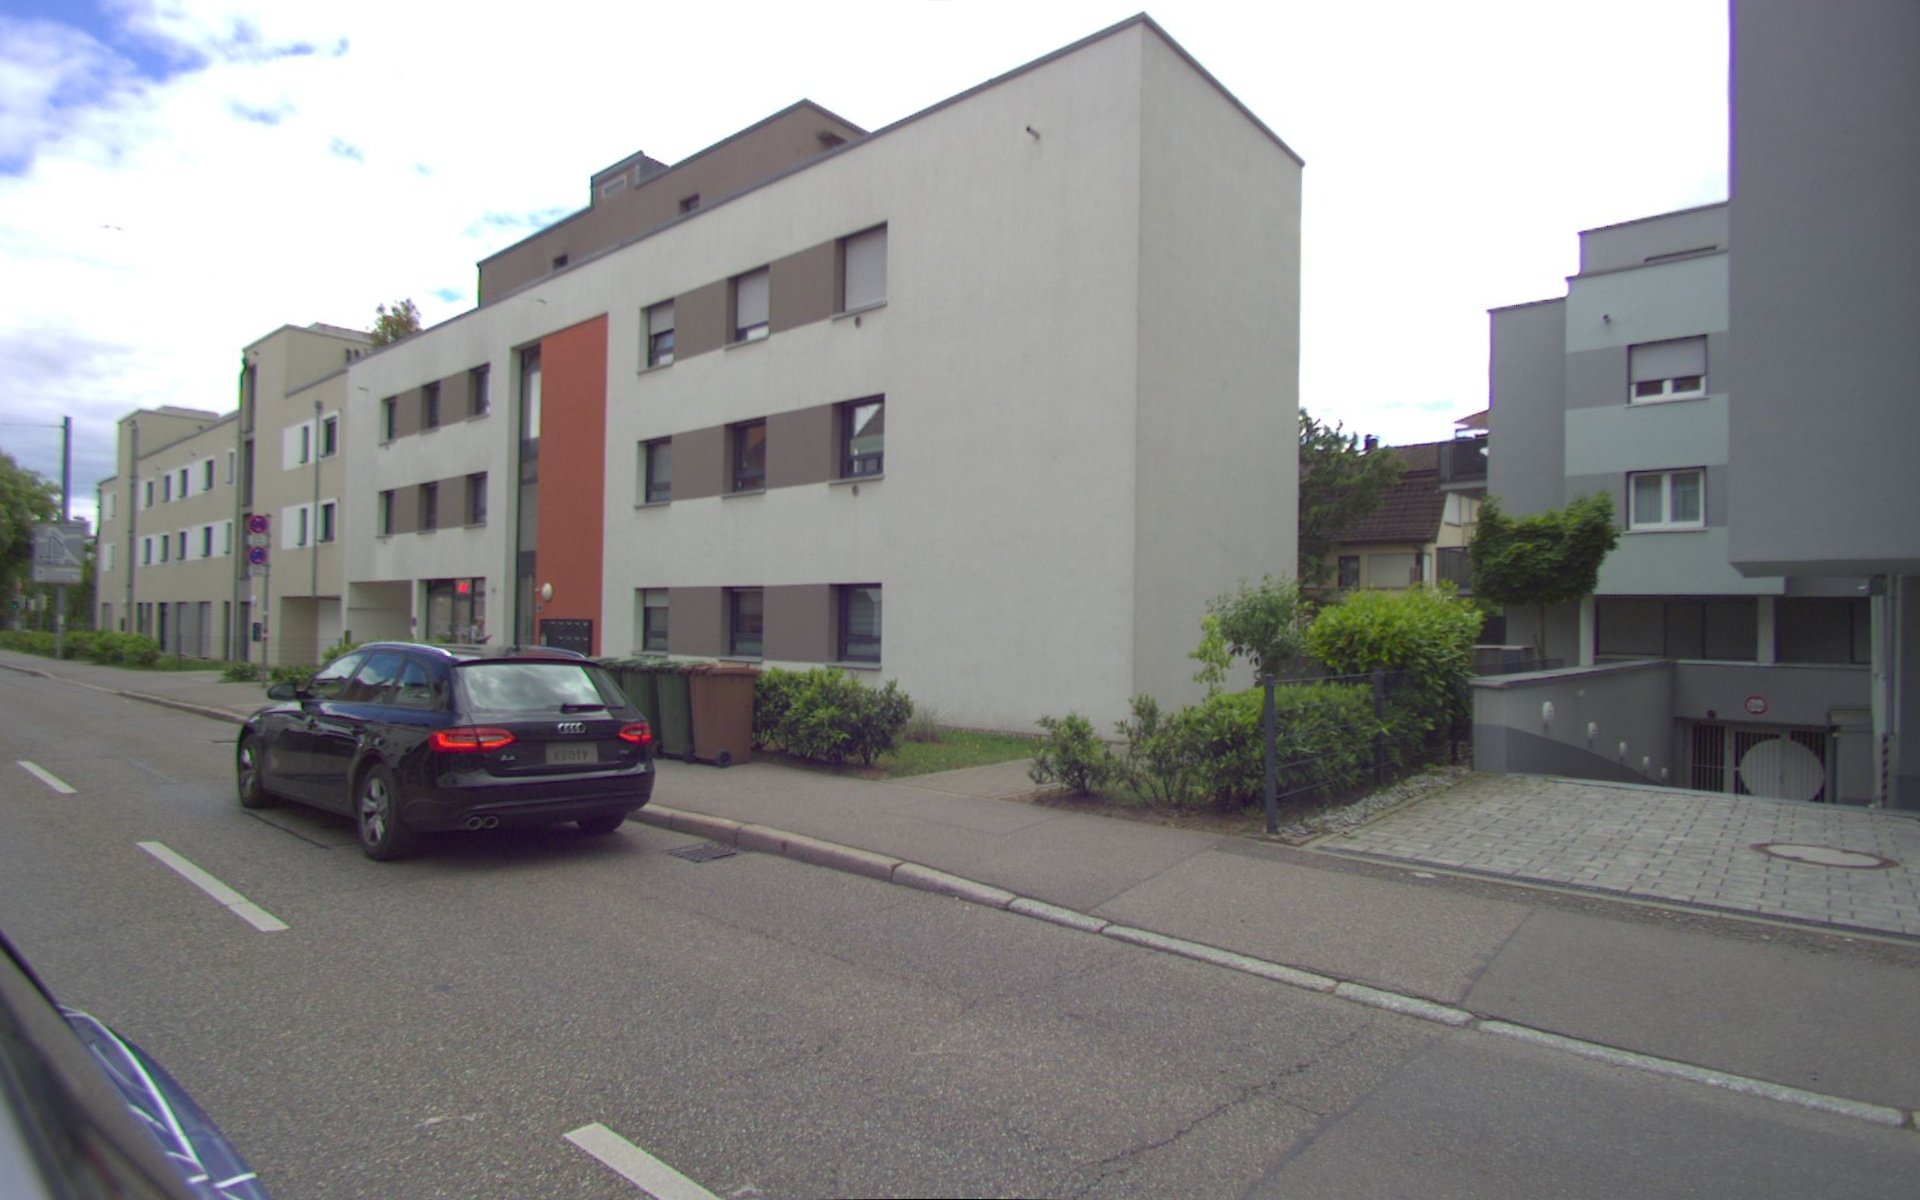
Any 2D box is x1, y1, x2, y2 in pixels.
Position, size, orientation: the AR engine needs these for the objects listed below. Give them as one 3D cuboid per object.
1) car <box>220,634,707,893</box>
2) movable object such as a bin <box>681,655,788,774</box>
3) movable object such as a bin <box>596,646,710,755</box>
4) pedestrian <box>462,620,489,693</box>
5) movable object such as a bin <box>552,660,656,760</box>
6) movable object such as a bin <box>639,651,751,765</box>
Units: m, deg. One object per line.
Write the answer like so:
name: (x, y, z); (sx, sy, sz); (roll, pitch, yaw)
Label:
car: (-4.036, 1.045, 7.924); (4.211, 1.462, 1.859); (-1, -5, 41)
movable object such as a bin: (-2.366, 1.176, 10.690); (0.612, 1.160, 0.932); (-1, -2, 36)
movable object such as a bin: (-3.541, 1.124, 11.684); (0.839, 1.160, 0.947); (-1, -2, 36)
pedestrian: (-11.208, 1.289, 23.414); (0.511, 1.655, 0.642); (1, -2, -28)
movable object such as a bin: (-4.257, 1.291, 12.121); (0.791, 1.097, 0.886); (-1, -2, 36)
movable object such as a bin: (-2.912, 1.152, 11.151); (0.748, 1.160, 0.940); (-1, -2, 36)
